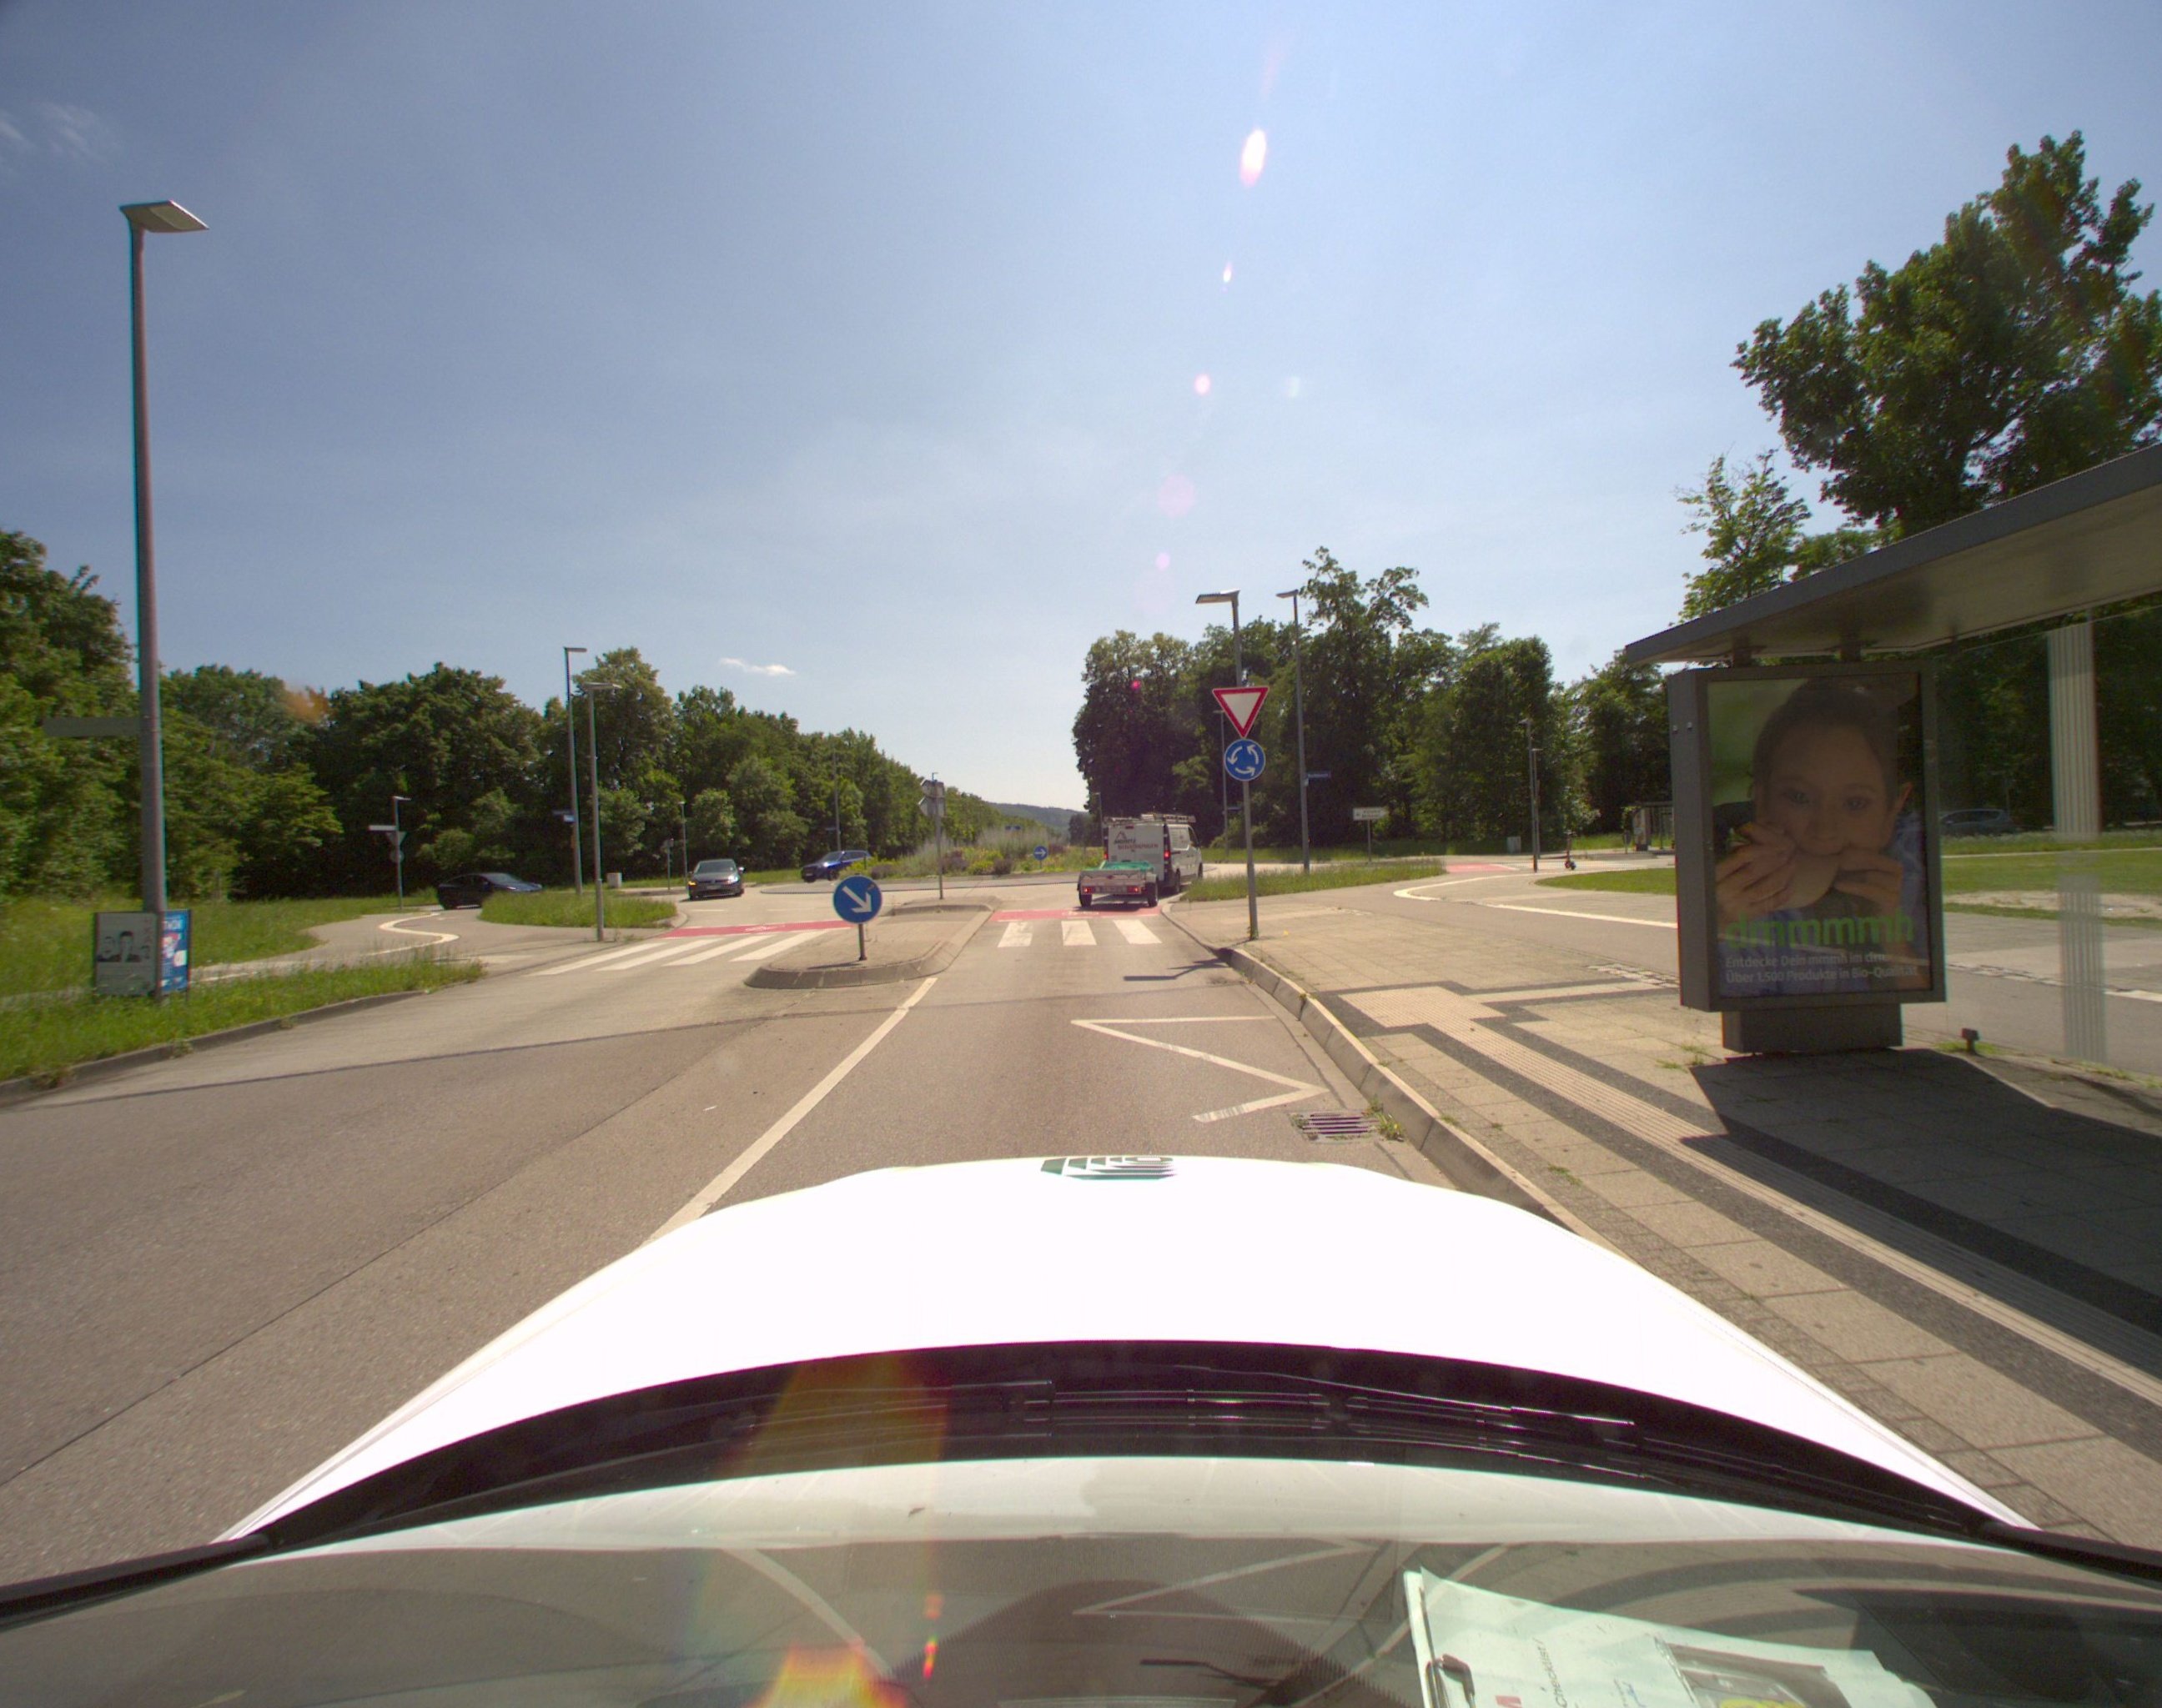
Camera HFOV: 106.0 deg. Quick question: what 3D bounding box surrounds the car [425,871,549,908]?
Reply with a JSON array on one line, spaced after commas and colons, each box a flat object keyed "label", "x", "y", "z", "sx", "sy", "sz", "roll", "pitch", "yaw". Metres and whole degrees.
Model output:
[{"label": "car", "x": -27.465, "y": 1.626, "z": 37.731, "sx": 4.519, "sy": 1.494, "sz": 1.965, "roll": -2, "pitch": 0, "yaw": 9}]

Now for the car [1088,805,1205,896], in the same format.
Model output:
[{"label": "car", "x": 2.036, "y": -0.099, "z": 23.429, "sx": 2.148, "sy": 2.316, "sz": 5.005, "roll": -2, "pitch": 0, "yaw": 19}]

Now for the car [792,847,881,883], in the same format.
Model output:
[{"label": "car", "x": -13.280, "y": 0.562, "z": 44.432, "sx": 1.974, "sy": 1.595, "sz": 4.351, "roll": -2, "pitch": 2, "yaw": 32}]

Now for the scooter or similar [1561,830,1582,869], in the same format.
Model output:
[{"label": "scooter or similar", "x": 15.774, "y": -0.150, "z": 26.185, "sx": 0.442, "sy": 1.201, "sz": 1.407, "roll": -2, "pitch": 0, "yaw": 27}]

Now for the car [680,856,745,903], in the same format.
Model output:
[{"label": "car", "x": -13.765, "y": 0.899, "z": 30.632, "sx": 2.002, "sy": 1.478, "sz": 4.256, "roll": -4, "pitch": 1, "yaw": -23}]

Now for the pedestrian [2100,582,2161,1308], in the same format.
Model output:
[{"label": "pedestrian", "x": 3.037, "y": 0.221, "z": 1.678, "sx": 0.706, "sy": 1.822, "sz": 0.826, "roll": -5, "pitch": 0, "yaw": -1}]

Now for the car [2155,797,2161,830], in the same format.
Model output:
[{"label": "car", "x": 50.641, "y": -1.865, "z": 35.953, "sx": 3.969, "sy": 1.485, "sz": 1.706, "roll": -2, "pitch": 3, "yaw": 4}]

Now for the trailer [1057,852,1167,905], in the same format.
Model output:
[{"label": "trailer", "x": 0.845, "y": 0.544, "z": 19.571, "sx": 2.108, "sy": 1.097, "sz": 3.365, "roll": -2, "pitch": 0, "yaw": 11}]
